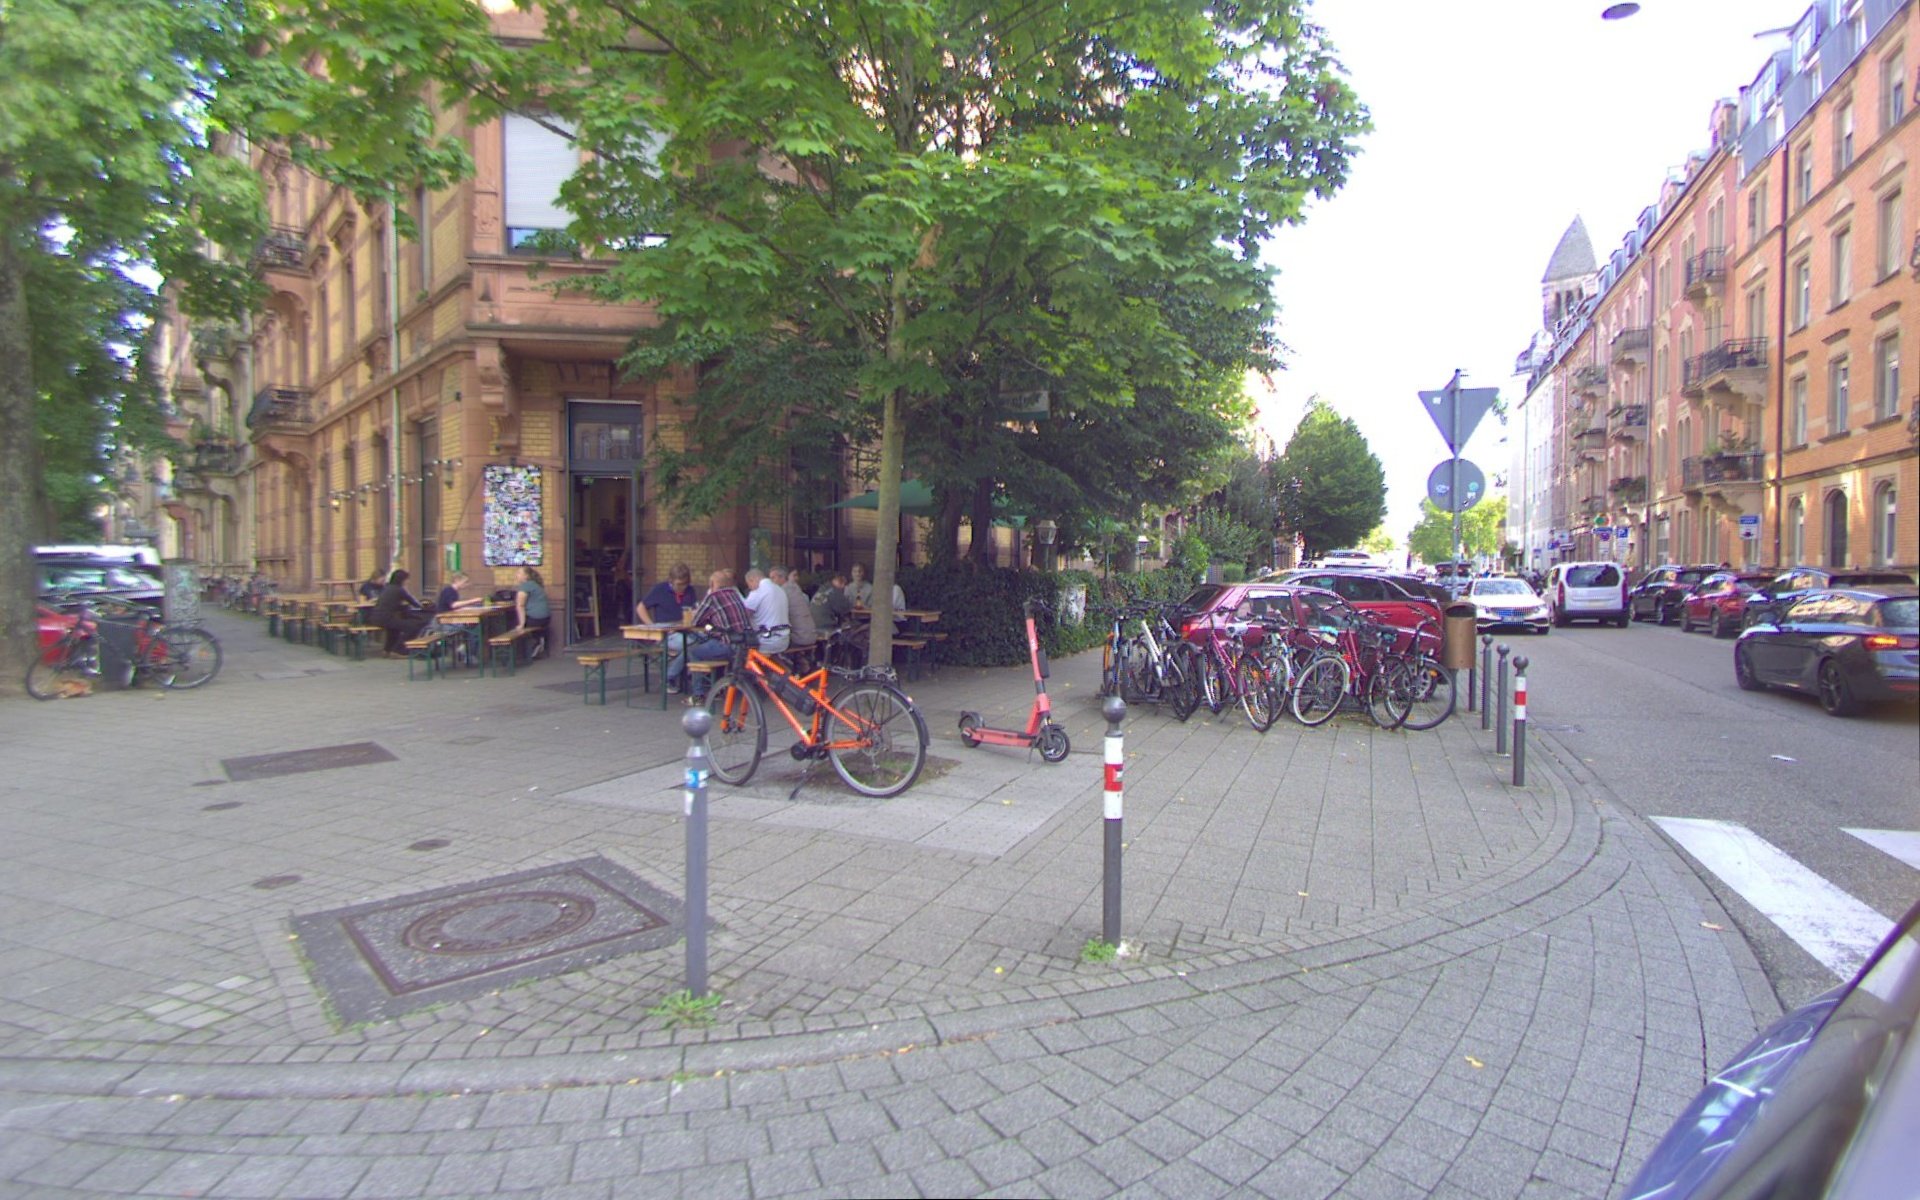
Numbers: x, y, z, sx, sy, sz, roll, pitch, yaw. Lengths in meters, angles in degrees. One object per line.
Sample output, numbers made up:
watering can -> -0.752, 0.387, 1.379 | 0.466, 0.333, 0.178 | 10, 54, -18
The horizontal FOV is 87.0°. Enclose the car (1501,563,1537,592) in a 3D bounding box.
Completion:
car -> 36.136, -1.461, 65.536 | 1.667, 1.807, 3.988 | 1, 2, 24

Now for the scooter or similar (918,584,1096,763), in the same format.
scooter or similar -> 0.336, 0.512, 7.732 | 1.289, 1.226, 0.547 | 2, 0, 44

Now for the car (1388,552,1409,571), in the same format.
car -> 48.221, -4.205, 111.163 | 1.979, 1.912, 3.966 | -1, 1, 25

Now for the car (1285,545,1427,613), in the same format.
car -> 15.141, -0.807, 38.810 | 4.642, 2.453, 2.003 | -1, 1, -8

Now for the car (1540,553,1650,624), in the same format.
car -> 18.534, -0.361, 29.763 | 1.922, 1.903, 4.801 | -1, 1, 22

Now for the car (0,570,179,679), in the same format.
car -> -12.568, 0.344, 12.841 | 4.046, 1.285, 1.564 | -4, 3, -44

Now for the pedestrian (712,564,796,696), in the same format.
pedestrian -> -2.160, 0.291, 10.642 | 0.718, 1.331, 0.519 | 1, 2, 12

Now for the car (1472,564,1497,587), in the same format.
car -> 45.903, -2.173, 88.601 | 1.709, 1.957, 3.979 | 1, 2, 24

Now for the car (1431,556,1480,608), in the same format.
car -> 20.905, -0.792, 42.706 | 1.776, 2.089, 3.964 | 1, 2, 26

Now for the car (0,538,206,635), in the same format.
car -> -20.633, -0.347, 23.392 | 4.835, 2.013, 2.042 | -5, 5, -45

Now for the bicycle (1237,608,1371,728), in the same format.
bicycle -> 3.428, 0.636, 10.256 | 0.462, 0.997, 1.869 | 2, 3, -8

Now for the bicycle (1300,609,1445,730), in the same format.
bicycle -> 4.126, 0.657, 10.287 | 0.462, 0.997, 1.869 | 2, 3, -8

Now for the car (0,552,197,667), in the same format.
car -> -14.316, 0.132, 15.366 | 4.233, 1.588, 2.007 | -4, 4, -35

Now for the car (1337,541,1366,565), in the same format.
car -> 30.984, -3.732, 80.171 | 1.826, 1.756, 3.978 | -1, 1, 18

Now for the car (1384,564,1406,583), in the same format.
car -> 39.343, -2.409, 91.543 | 1.744, 1.627, 3.644 | 1, 2, 24

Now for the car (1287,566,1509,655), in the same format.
car -> 8.299, 0.169, 19.387 | 3.520, 1.482, 1.514 | 2, 2, 1

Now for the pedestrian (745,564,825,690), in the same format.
pedestrian -> -1.934, 0.276, 11.232 | 0.718, 1.331, 0.606 | 1, 2, 12

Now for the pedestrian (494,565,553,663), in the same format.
pedestrian -> -5.964, 0.178, 13.831 | 0.629, 1.274, 0.512 | -3, 4, -34

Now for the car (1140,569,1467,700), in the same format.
car -> 4.209, 0.386, 12.740 | 3.518, 1.397, 1.514 | 2, 2, -1

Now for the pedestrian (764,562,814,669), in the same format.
pedestrian -> -2.155, 0.177, 12.801 | 0.538, 1.316, 0.622 | 0, 2, 0

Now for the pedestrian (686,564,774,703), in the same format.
pedestrian -> -2.300, 0.312, 10.147 | 0.718, 1.331, 0.519 | 1, 2, 12

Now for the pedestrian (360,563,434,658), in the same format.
pedestrian -> -8.152, 0.130, 14.658 | 0.757, 1.300, 0.628 | -4, 3, -43

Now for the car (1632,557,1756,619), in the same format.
car -> 20.980, -0.359, 29.119 | 1.741, 1.618, 4.313 | -1, 1, 20

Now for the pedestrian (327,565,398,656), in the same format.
pedestrian -> -9.011, 0.134, 15.258 | 0.757, 1.300, 0.628 | -4, 3, -43

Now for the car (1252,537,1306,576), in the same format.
car -> 15.787, -2.114, 49.949 | 1.721, 1.825, 3.958 | -1, 1, 30

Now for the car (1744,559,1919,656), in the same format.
car -> 16.525, 0.057, 18.969 | 1.842, 1.604, 4.364 | -1, 2, 24

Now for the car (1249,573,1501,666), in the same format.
car -> 6.858, 0.291, 16.958 | 3.520, 1.339, 1.514 | 2, 2, 1

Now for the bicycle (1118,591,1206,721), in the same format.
bicycle -> 1.985, 0.505, 10.128 | 0.466, 1.114, 1.676 | 2, 2, -1

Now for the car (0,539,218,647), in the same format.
car -> -15.376, -0.142, 17.804 | 3.643, 1.742, 1.859 | -2, 1, -40

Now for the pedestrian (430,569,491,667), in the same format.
pedestrian -> -6.649, 0.221, 13.465 | 0.629, 1.239, 0.512 | -3, 4, -34

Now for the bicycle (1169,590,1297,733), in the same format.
bicycle -> 2.568, 0.530, 9.725 | 0.465, 1.157, 1.842 | 2, 2, -8

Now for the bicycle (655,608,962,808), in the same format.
bicycle -> -0.965, 0.614, 6.364 | 1.836, 1.048, 0.678 | 1, 2, 24

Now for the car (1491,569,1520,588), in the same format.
car -> 40.126, -1.596, 74.536 | 1.608, 1.396, 3.731 | 0, 1, 24

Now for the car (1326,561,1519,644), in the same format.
car -> 10.252, 0.024, 22.595 | 3.520, 1.632, 1.514 | 2, 2, 1

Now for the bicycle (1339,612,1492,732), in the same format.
bicycle -> 4.583, 0.683, 10.339 | 0.462, 0.997, 1.869 | 2, 3, -8

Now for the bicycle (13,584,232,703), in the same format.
bicycle -> -9.052, 0.431, 11.034 | 1.767, 1.127, 0.600 | -3, 4, -38

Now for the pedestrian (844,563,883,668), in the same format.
pedestrian -> -1.266, 0.190, 13.293 | 0.458, 1.343, 0.622 | 0, 2, 0

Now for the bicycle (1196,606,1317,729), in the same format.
bicycle -> 2.897, 0.618, 10.069 | 0.409, 0.997, 1.842 | 2, 3, -8

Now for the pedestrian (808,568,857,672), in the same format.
pedestrian -> -1.574, 0.232, 12.540 | 0.538, 1.247, 0.622 | 0, 2, 0

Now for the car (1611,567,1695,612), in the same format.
car -> 22.977, -0.361, 33.693 | 1.608, 1.396, 3.732 | 0, 1, 24

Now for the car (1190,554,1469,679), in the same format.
car -> 5.401, 0.205, 15.105 | 3.520, 1.635, 1.514 | 2, 2, 1

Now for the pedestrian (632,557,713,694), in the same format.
pedestrian -> -3.079, 0.244, 10.823 | 0.656, 1.395, 0.718 | -1, 2, -31

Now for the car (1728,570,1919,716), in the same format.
car -> 10.883, 0.386, 11.987 | 1.750, 1.398, 4.418 | -2, 1, 23

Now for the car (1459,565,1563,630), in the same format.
car -> 14.945, -0.113, 27.691 | 1.922, 1.617, 4.801 | -1, 1, 22

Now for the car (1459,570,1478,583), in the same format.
car -> 54.226, -2.530, 107.990 | 1.608, 1.396, 3.731 | 1, 2, 24

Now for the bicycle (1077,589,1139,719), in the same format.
bicycle -> 1.444, 0.489, 10.082 | 0.426, 1.114, 1.674 | 2, 2, 3

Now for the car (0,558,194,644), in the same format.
car -> -17.071, -0.004, 19.439 | 3.643, 1.475, 1.668 | -4, 2, -40

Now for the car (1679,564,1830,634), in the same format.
car -> 18.712, -0.062, 24.062 | 1.742, 1.515, 4.102 | -1, 1, 22

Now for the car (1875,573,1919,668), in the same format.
car -> 14.722, 0.303, 14.149 | 1.706, 1.385, 3.799 | -1, 1, 24

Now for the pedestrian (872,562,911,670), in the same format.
pedestrian -> -0.865, 0.190, 12.911 | 0.458, 1.343, 0.622 | 0, 2, 0
